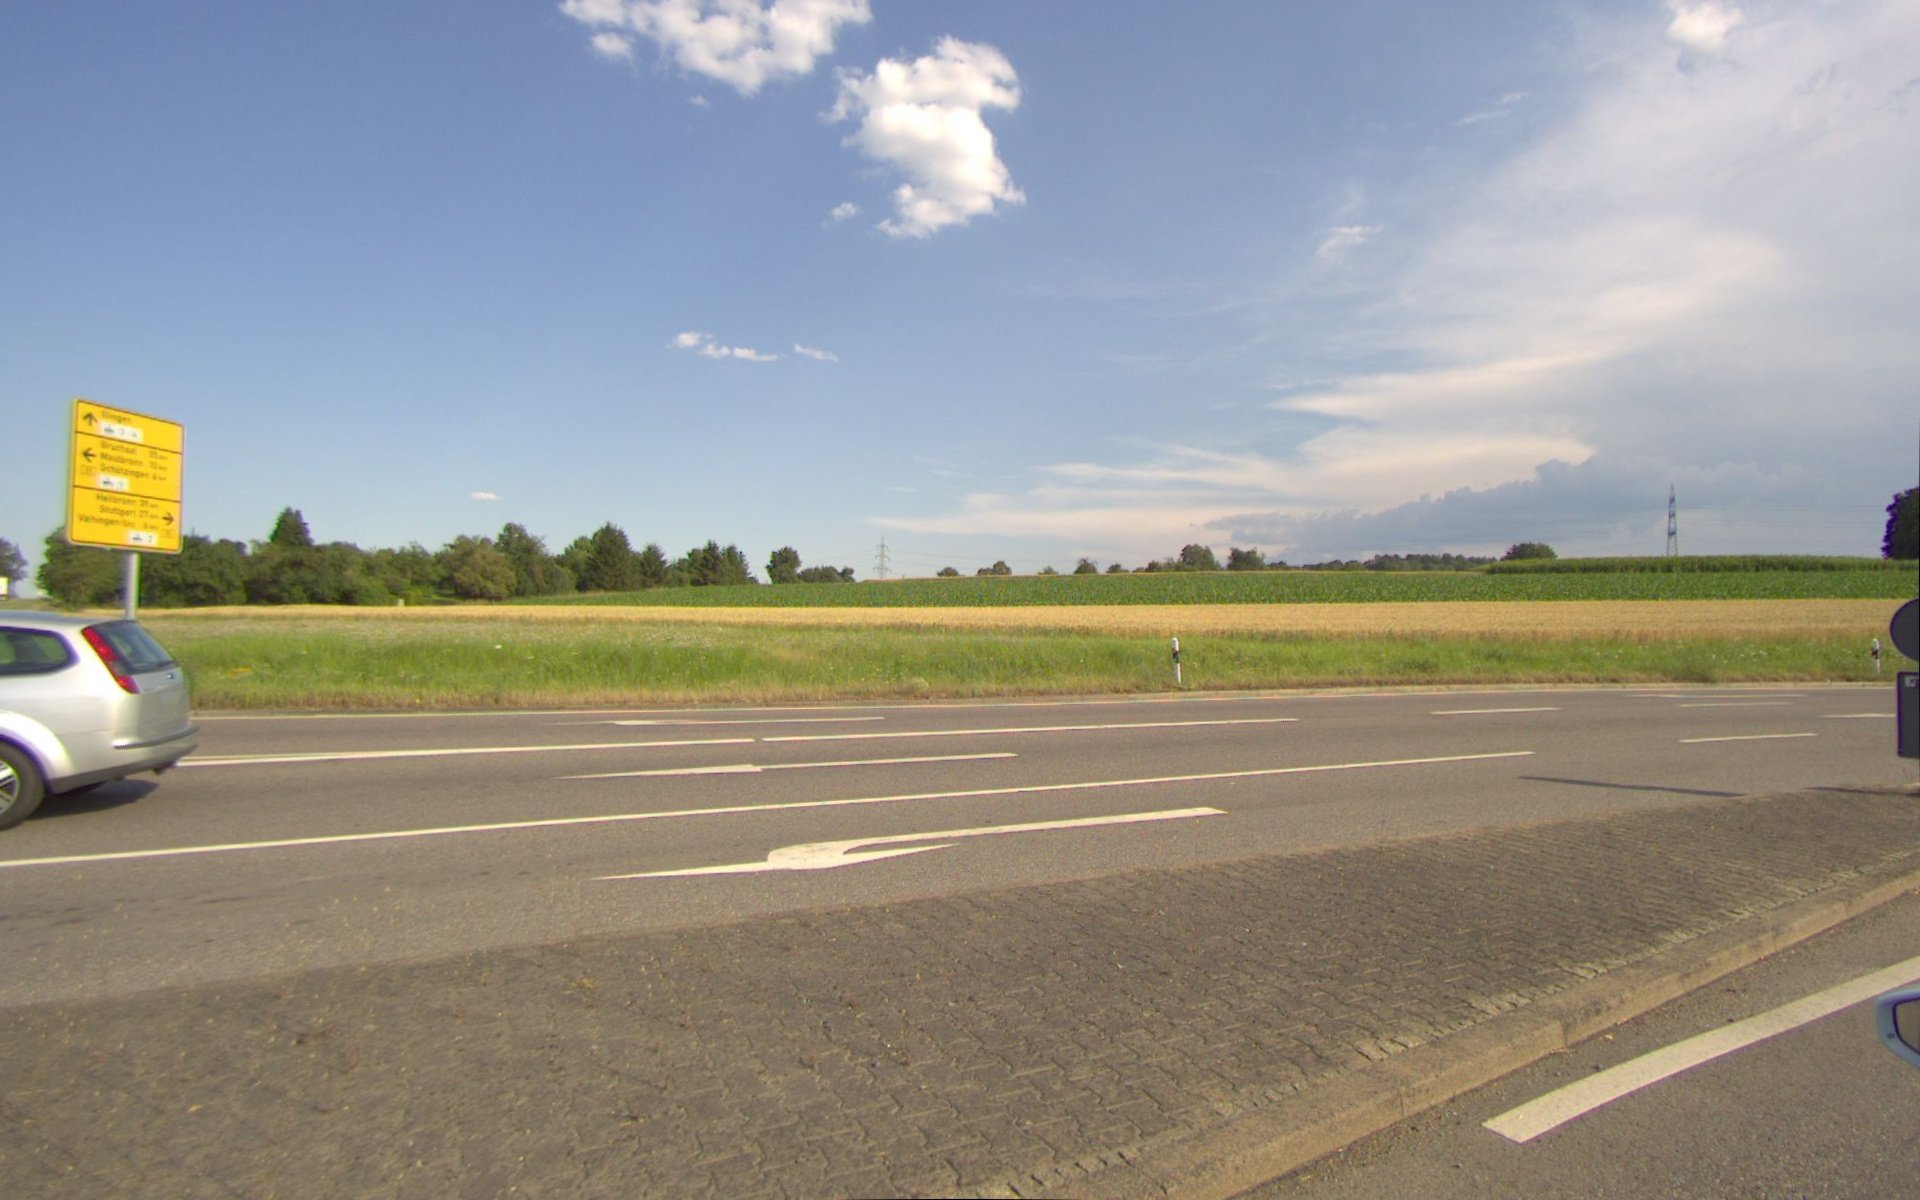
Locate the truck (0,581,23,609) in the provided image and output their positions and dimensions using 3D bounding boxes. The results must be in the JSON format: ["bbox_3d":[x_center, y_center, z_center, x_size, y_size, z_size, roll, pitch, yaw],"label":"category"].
[{"bbox_3d":[-156.530,-0.768,164.919,3.425,4.557,9.374,0,0,-41],"label":"truck"}]

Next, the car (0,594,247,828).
[{"bbox_3d":[-7.869,0.788,7.095,4.293,1.549,1.809,-2,1,-25],"label":"car"}]
